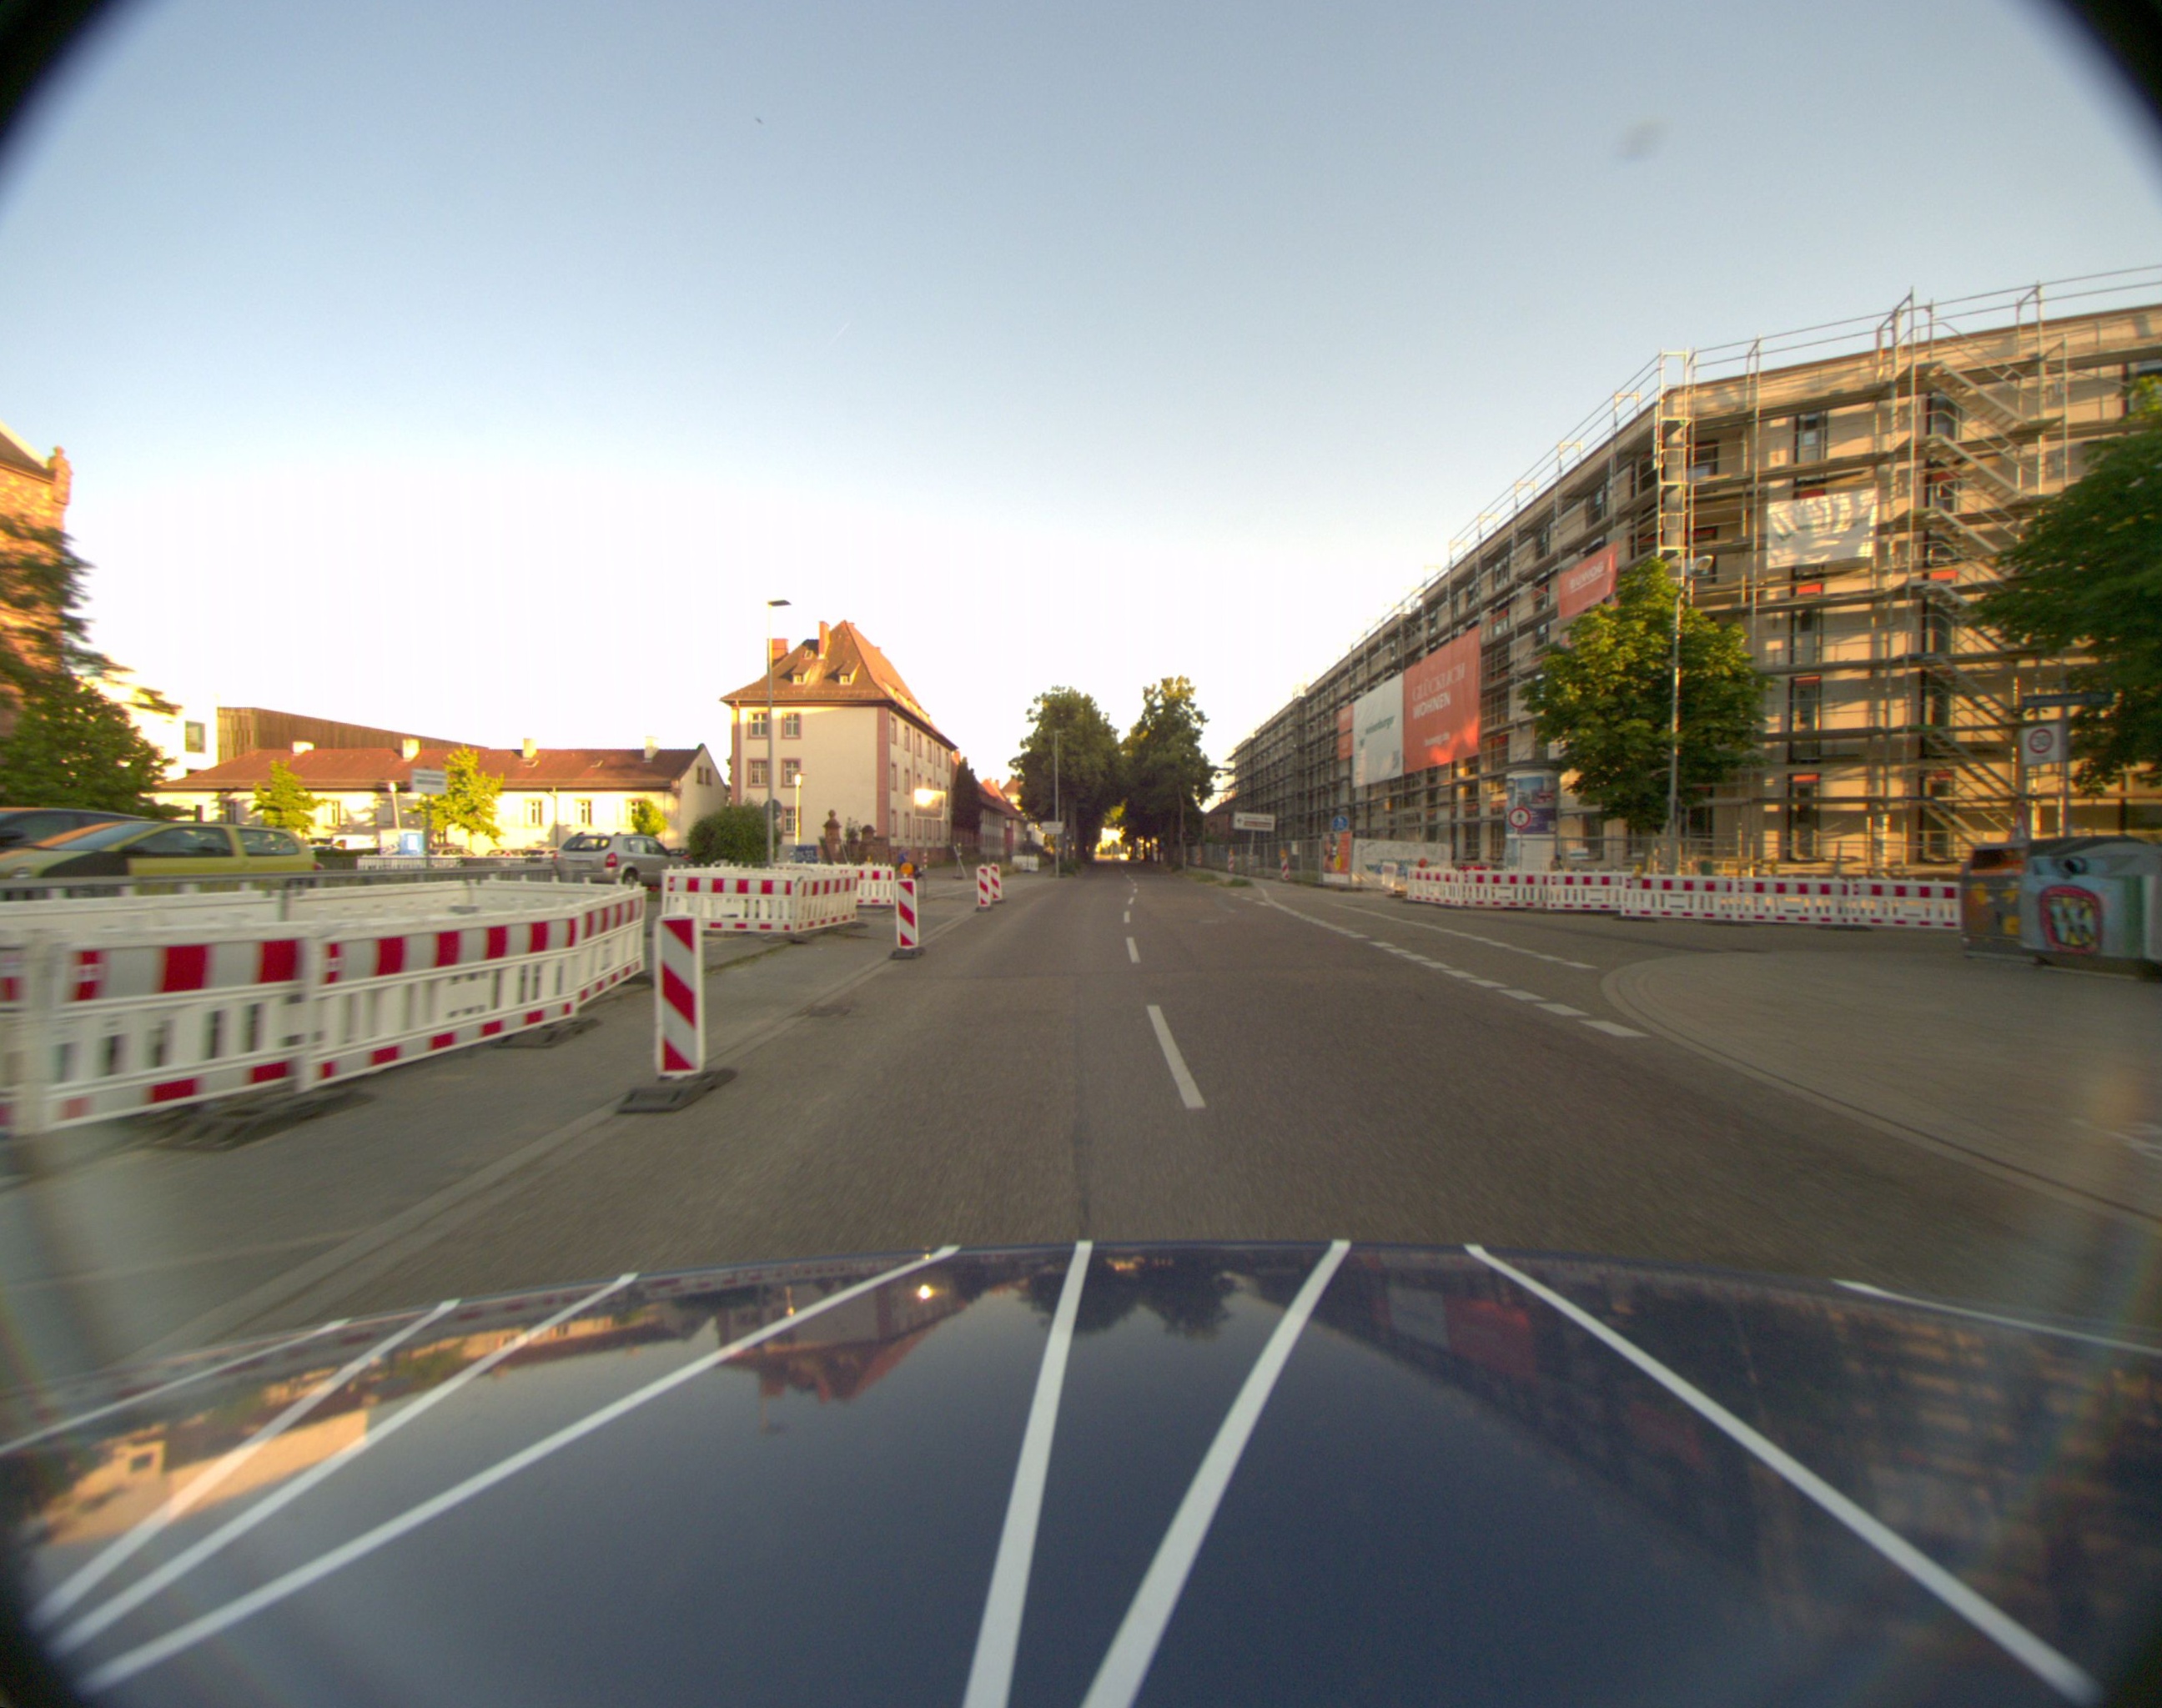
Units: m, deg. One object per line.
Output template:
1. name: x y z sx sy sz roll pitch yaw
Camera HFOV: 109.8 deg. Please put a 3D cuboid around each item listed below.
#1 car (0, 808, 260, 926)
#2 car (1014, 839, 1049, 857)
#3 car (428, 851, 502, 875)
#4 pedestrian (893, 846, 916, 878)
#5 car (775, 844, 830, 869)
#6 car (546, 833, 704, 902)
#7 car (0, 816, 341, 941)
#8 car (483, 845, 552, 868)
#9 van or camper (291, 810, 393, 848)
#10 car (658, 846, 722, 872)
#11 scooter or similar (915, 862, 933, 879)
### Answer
1. car: -15.625 0.166 11.329 1.573 1.628 4.599 1 1 4
2. car: -5.679 -0.674 88.149 3.998 2.002 1.999 1 1 -2
3. car: -39.272 0.559 48.573 1.686 1.437 3.752 0 0 -1
4. pedestrian: -9.175 0.410 39.493 1.013 1.633 0.752 0 1 4
5. car: -17.233 0.157 47.250 1.999 1.450 3.999 0 0 -1
6. car: -12.471 0.319 21.142 1.701 1.699 4.283 1 1 2
7. car: -13.361 0.269 10.976 1.635 1.495 3.644 1 1 4
8. car: -35.964 0.161 48.616 1.686 1.437 3.752 0 0 -1
9. van or camper: -47.228 -1.547 48.699 1.686 2.227 4.978 0 0 0
10. car: -24.437 0.289 47.643 1.999 1.563 3.999 0 0 -1
11. scooter or similar: -8.147 0.862 39.357 0.805 0.885 0.515 0 1 3
